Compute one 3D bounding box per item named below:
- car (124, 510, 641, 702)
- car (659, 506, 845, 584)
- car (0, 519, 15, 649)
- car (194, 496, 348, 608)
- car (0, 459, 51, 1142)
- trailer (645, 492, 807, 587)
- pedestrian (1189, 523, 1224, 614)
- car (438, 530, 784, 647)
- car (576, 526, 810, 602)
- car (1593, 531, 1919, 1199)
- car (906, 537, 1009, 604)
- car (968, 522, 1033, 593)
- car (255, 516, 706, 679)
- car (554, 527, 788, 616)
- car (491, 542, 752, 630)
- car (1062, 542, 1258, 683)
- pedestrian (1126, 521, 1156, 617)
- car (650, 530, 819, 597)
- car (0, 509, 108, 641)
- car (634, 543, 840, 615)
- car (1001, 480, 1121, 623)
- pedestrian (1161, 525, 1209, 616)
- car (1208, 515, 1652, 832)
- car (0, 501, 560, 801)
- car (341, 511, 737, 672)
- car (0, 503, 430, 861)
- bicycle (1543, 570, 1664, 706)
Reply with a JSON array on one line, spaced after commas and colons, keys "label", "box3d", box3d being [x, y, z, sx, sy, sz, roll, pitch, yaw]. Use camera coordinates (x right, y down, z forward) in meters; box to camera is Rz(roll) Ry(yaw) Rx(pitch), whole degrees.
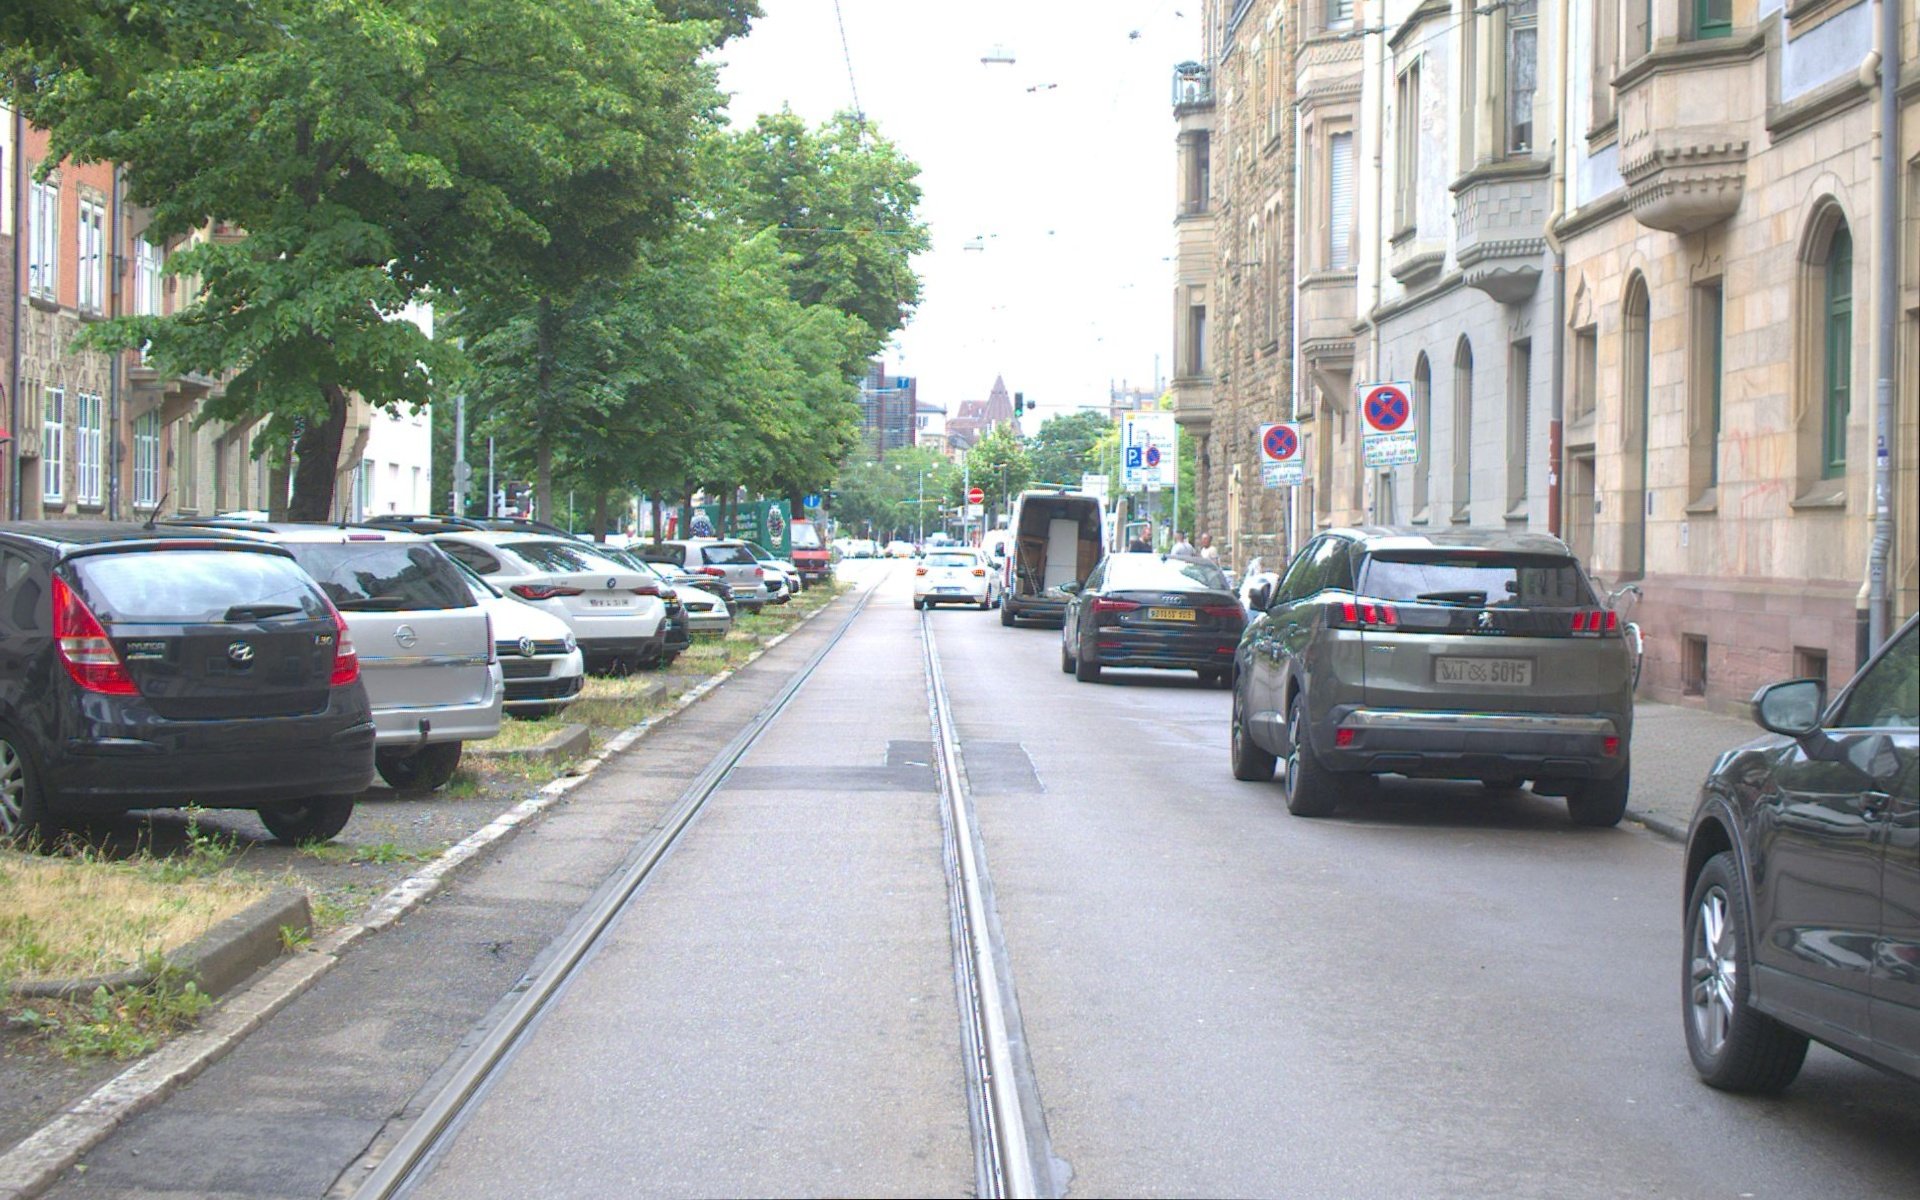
[{"label": "car", "box3d": [-4.560, 0.013, 26.815, 4.127, 1.307, 1.858, 3, 1, 44]}, {"label": "car", "box3d": [-5.502, -1.457, 90.479, 4.763, 1.967, 1.955, 2, 1, 38]}, {"label": "car", "box3d": [-12.276, -0.193, 39.857, 1.662, 1.554, 3.723, 1, 1, -1]}, {"label": "car", "box3d": [-12.549, -0.875, 62.906, 1.881, 1.945, 5.094, 1, 1, -1]}, {"label": "car", "box3d": [-4.324, 0.437, 8.879, 4.203, 1.604, 1.721, 1, 0, 41]}, {"label": "trailer", "box3d": [-5.962, -1.554, 87.659, 3.666, 2.336, 1.927, 1, 1, 32]}, {"label": "pedestrian", "box3d": [4.695, -0.609, 65.492, 0.507, 1.711, 0.581, -2, 1, -10]}, {"label": "car", "box3d": [-4.549, -0.173, 44.323, 4.664, 1.363, 1.753, 2, 1, 42]}, {"label": "car", "box3d": [-5.421, -0.736, 69.425, 4.684, 1.430, 1.894, 2, 1, 39]}, {"label": "car", "box3d": [2.943, 0.648, 8.412, 1.697, 1.508, 4.420, 4, 1, -3]}, {"label": "car", "box3d": [-0.032, -0.698, 78.648, 1.783, 1.467, 4.009, 1, 1, 8]}, {"label": "car", "box3d": [1.155, -1.237, 98.114, 1.782, 1.956, 4.382, 1, 1, 1]}, {"label": "car", "box3d": [-4.820, -0.059, 34.134, 4.539, 1.485, 2.031, 2, 1, 43]}, {"label": "car", "box3d": [-5.218, -0.522, 61.778, 4.114, 1.479, 1.793, 2, 1, 40]}, {"label": "car", "box3d": [-5.092, -0.227, 51.440, 3.960, 1.198, 1.664, 2, 1, 43]}, {"label": "car", "box3d": [2.214, 0.092, 39.258, 1.801, 1.433, 5.196, 1, 1, -1]}, {"label": "pedestrian", "box3d": [3.440, -0.592, 65.384, 0.499, 1.809, 0.803, -1, 1, 1]}, {"label": "car", "box3d": [-5.248, -0.859, 79.713, 3.860, 1.458, 1.685, 2, 1, 42]}, {"label": "car", "box3d": [-12.465, -0.347, 44.681, 1.740, 1.621, 4.554, 1, 1, -1]}, {"label": "car", "box3d": [-4.787, -0.458, 73.477, 4.337, 1.430, 1.894, 2, 1, 42]}, {"label": "car", "box3d": [1.895, -0.956, 66.557, 2.013, 2.540, 7.017, 3, 1, 0]}, {"label": "pedestrian", "box3d": [4.229, -0.556, 64.644, 0.702, 1.694, 0.493, -2, 1, -28]}, {"label": "car", "box3d": [2.619, 0.329, 20.263, 1.759, 1.616, 4.695, 1, 1, -2]}, {"label": "car", "box3d": [-4.446, 0.211, 19.552, 1.858, 1.488, 4.562, 1, 1, -45]}, {"label": "car", "box3d": [-4.617, -0.124, 37.263, 4.530, 1.627, 1.761, 2, 1, 43]}, {"label": "car", "box3d": [-4.446, 0.284, 16.291, 3.998, 1.480, 1.771, 2, 2, 45]}, {"label": "bicycle", "box3d": [5.773, 0.326, 30.933, 0.611, 1.123, 1.916, 4, 1, -1]}]
